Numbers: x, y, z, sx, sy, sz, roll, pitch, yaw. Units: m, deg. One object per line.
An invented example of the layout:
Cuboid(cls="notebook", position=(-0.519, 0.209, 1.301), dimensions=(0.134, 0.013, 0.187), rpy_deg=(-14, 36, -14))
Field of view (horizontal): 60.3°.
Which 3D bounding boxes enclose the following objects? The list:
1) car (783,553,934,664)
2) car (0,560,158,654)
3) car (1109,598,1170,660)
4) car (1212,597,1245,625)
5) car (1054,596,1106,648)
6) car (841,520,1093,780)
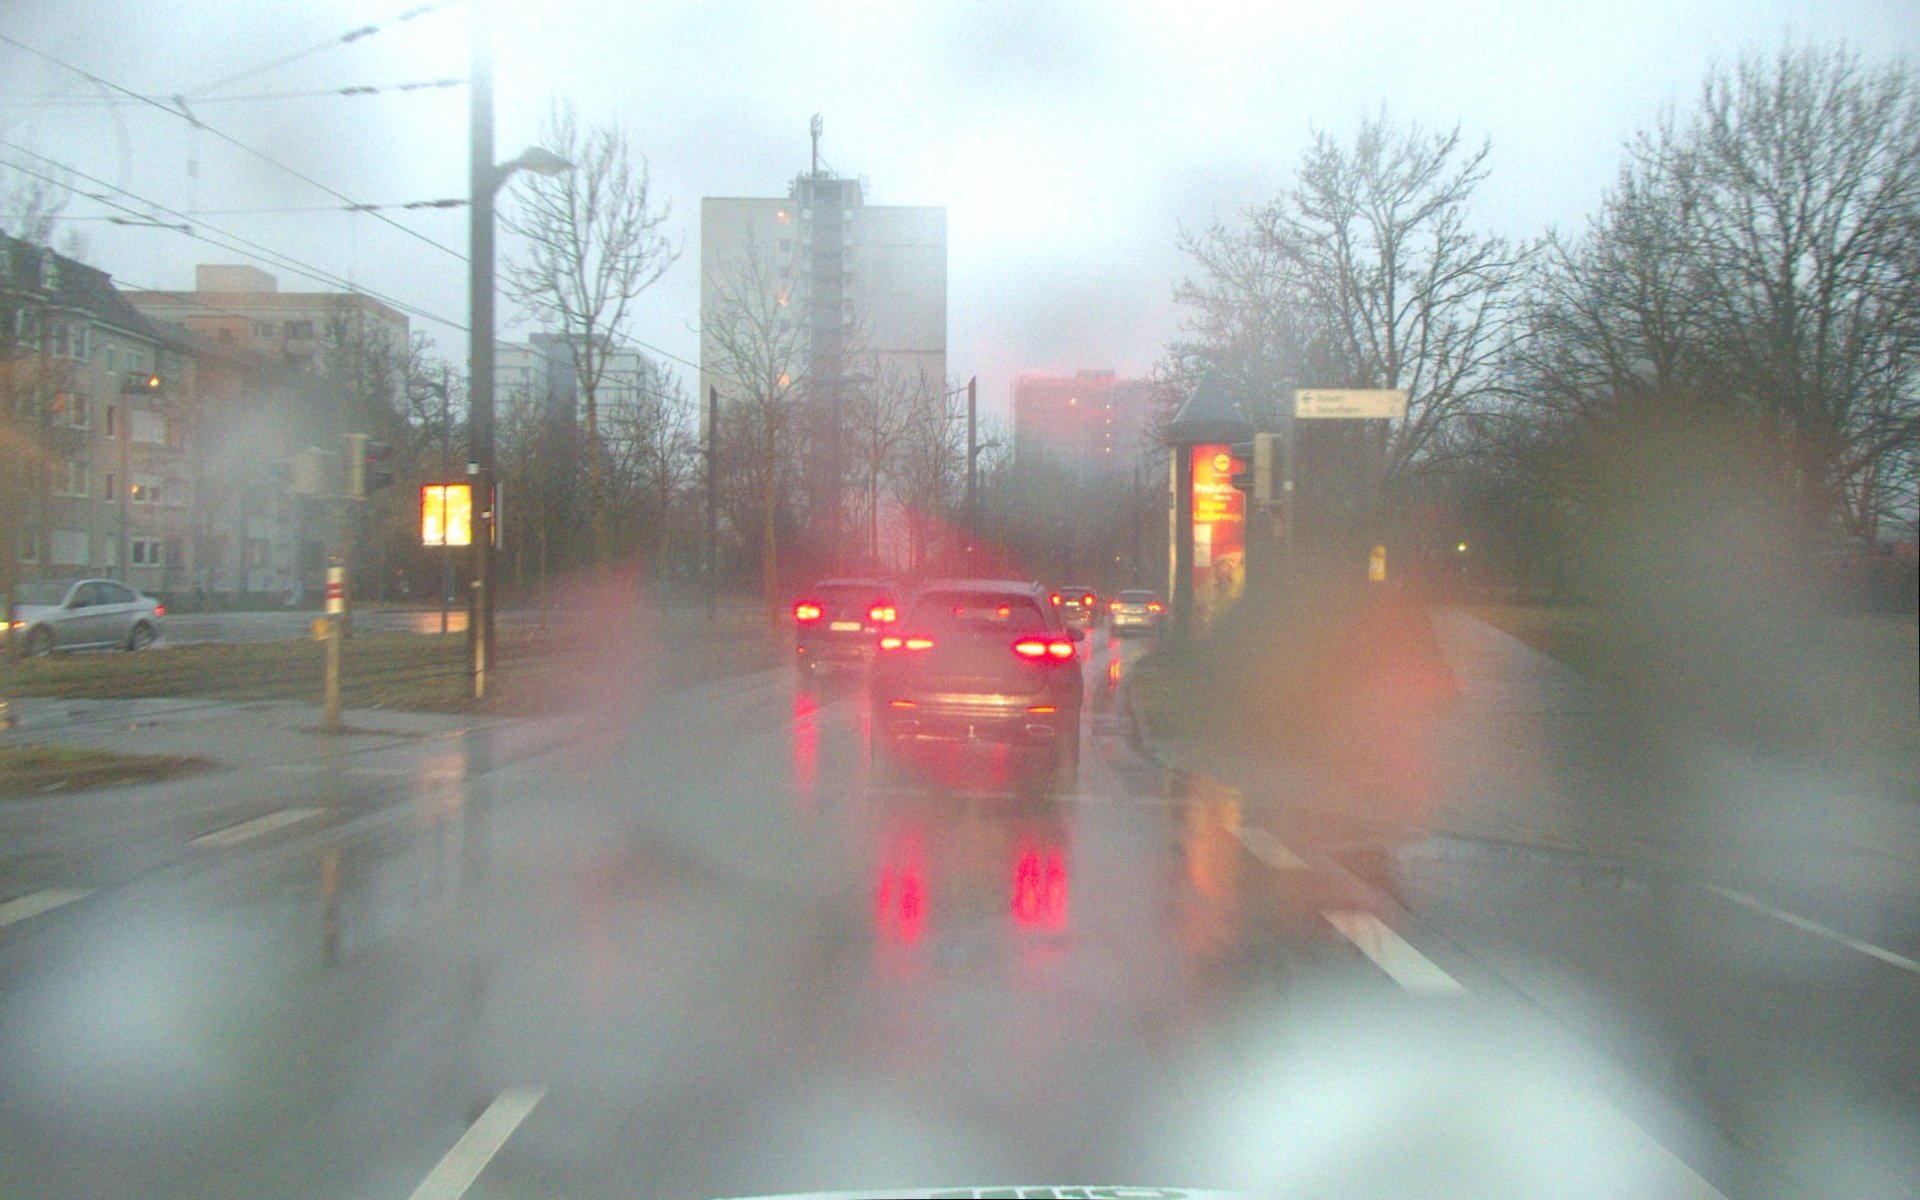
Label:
Cuboid(cls="car", position=(-1.681, 0.162, 28.972), dimensions=(1.951, 1.742, 4.327), rpy_deg=(2, -1, 5))
Cuboid(cls="car", position=(-16.411, 0.119, 29.838), dimensions=(1.555, 1.556, 4.932), rpy_deg=(2, -1, -2))
Cuboid(cls="car", position=(6.022, 0.952, 55.249), dimensions=(1.817, 1.924, 4.003), rpy_deg=(2, -1, 8))
Cuboid(cls="car", position=(15.468, 0.664, 95.247), dimensions=(1.503, 1.540, 3.344), rpy_deg=(2, -1, 3))
Cuboid(cls="car", position=(4.702, 0.849, 64.426), dimensions=(1.734, 1.924, 3.645), rpy_deg=(2, -1, 8))
Cuboid(cls="car", position=(0.089, 0.419, 15.212), dimensions=(1.952, 2.010, 4.068), rpy_deg=(2, -1, 1))
